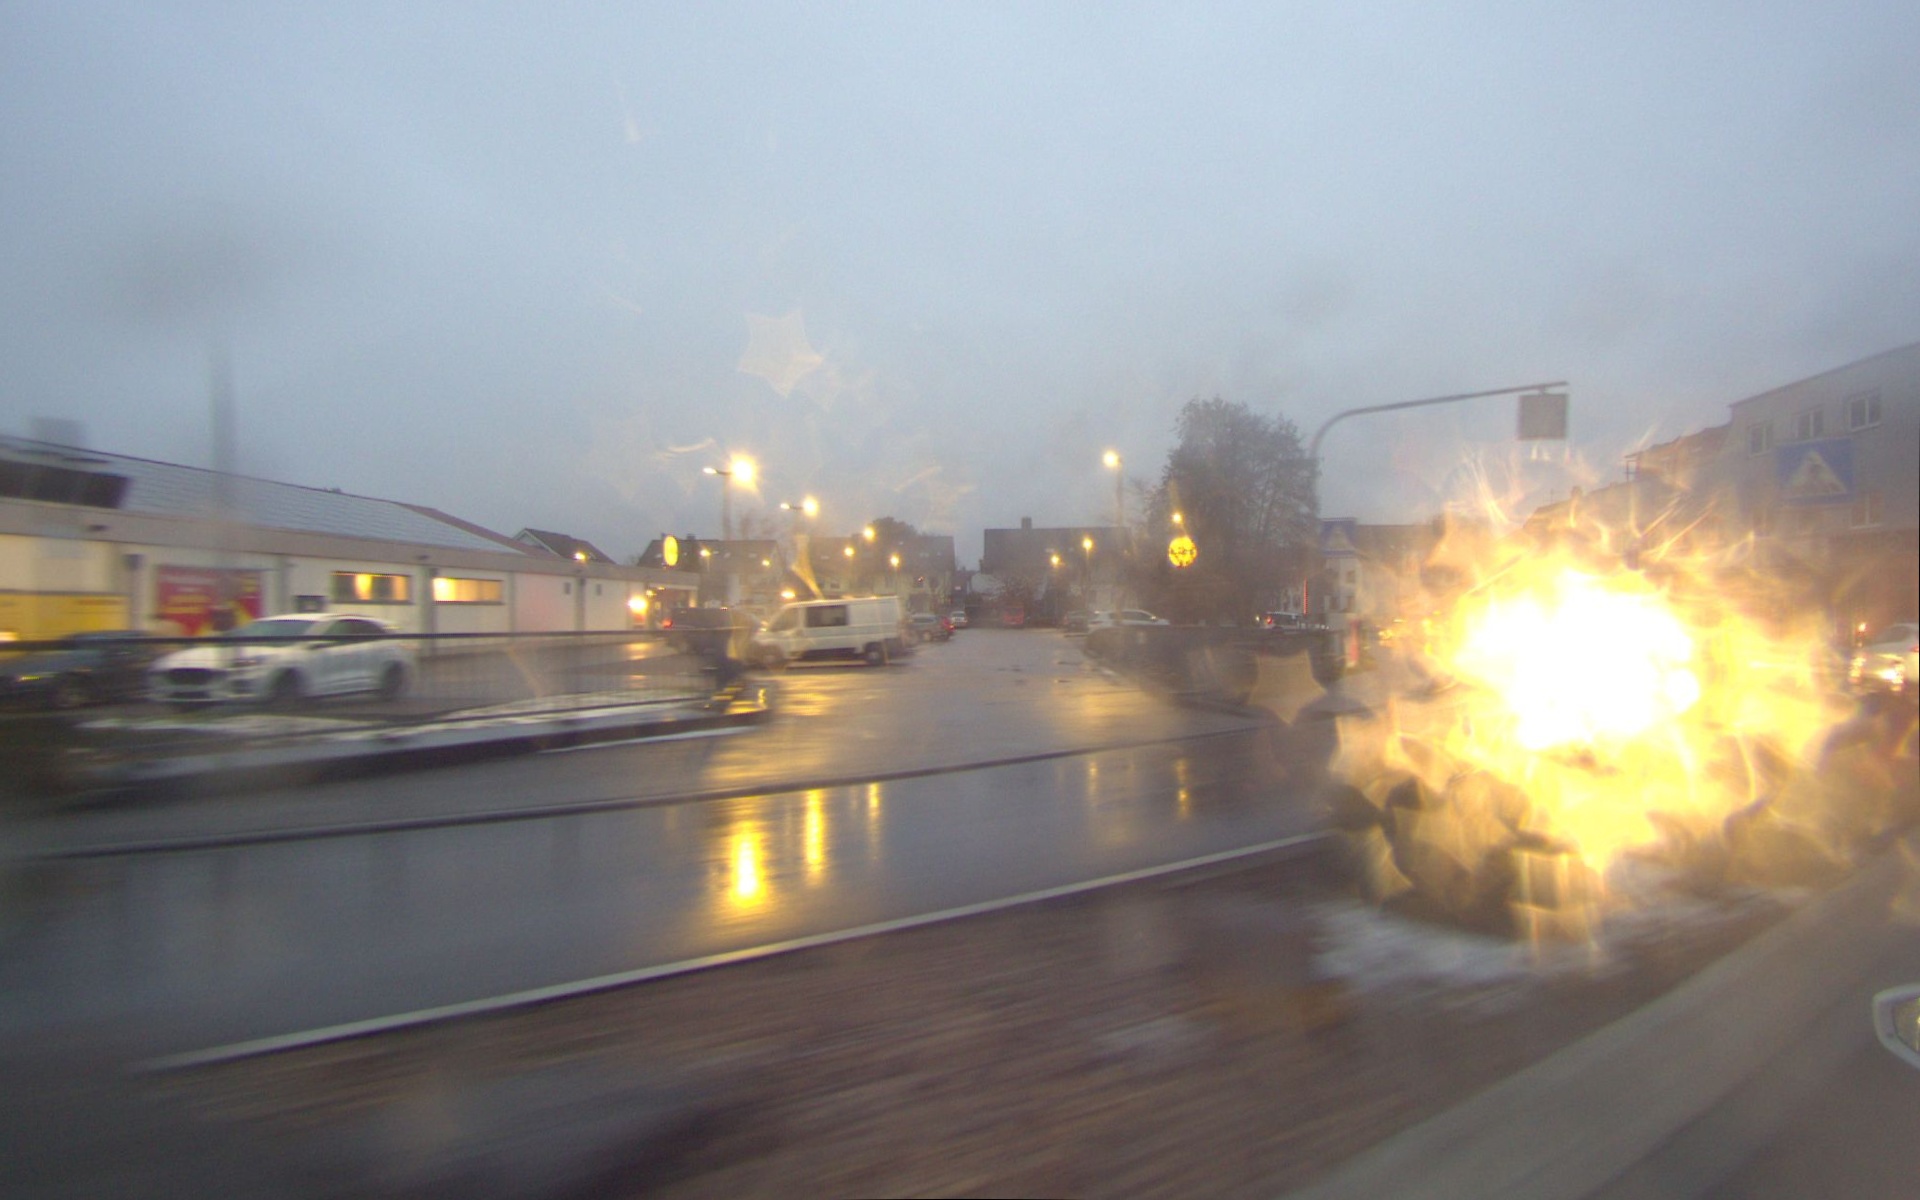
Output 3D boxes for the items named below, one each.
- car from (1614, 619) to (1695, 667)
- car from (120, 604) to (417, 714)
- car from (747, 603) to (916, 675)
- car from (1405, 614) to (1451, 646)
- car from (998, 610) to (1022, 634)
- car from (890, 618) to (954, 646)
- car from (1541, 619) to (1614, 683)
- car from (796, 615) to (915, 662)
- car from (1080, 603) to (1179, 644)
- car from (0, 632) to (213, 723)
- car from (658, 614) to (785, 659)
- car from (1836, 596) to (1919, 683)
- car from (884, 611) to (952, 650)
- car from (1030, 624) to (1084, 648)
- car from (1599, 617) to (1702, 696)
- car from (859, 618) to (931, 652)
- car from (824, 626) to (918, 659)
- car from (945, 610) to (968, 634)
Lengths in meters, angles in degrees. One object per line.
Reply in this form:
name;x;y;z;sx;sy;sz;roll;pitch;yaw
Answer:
car;27.980;1.670;40.620;2.031;1.740;4.566;0;0;26
car;-11.831;0.913;17.621;2.023;1.582;4.282;1;1;4
car;-4.195;1.258;33.433;5.316;2.162;2.033;1;1;1
car;28.941;1.814;62.252;2.029;1.858;4.572;0;0;18
car;4.426;1.902;89.277;1.673;1.942;3.997;1;1;-4
car;-2.280;1.920;61.090;3.716;1.567;1.735;1;1;2
car;22.376;1.772;36.548;2.132;2.088;4.561;0;0;30
car;-4.025;1.473;39.205;4.419;1.646;1.846;1;0;1
car;7.506;1.029;44.783;4.268;1.771;1.707;0;0;6
car;-16.598;1.363;18.939;1.805;1.329;4.001;1;1;5
car;-10.189;1.526;43.005;4.949;1.688;1.797;1;1;7
car;20.868;0.787;21.671;2.132;1.712;4.561;0;1;31
car;-2.401;1.721;57.466;3.716;2.041;1.735;1;1;2
car;7.028;2.599;72.628;3.831;1.630;1.639;0;0;8
car;20.772;1.613;30.392;2.131;2.088;4.563;0;0;29
car;-3.514;1.886;54.493;3.716;1.712;1.735;1;1;2
car;-4.325;2.077;49.010;4.374;1.421;1.727;1;1;1
car;-0.324;1.957;90.923;1.836;2.041;3.997;1;1;-4
